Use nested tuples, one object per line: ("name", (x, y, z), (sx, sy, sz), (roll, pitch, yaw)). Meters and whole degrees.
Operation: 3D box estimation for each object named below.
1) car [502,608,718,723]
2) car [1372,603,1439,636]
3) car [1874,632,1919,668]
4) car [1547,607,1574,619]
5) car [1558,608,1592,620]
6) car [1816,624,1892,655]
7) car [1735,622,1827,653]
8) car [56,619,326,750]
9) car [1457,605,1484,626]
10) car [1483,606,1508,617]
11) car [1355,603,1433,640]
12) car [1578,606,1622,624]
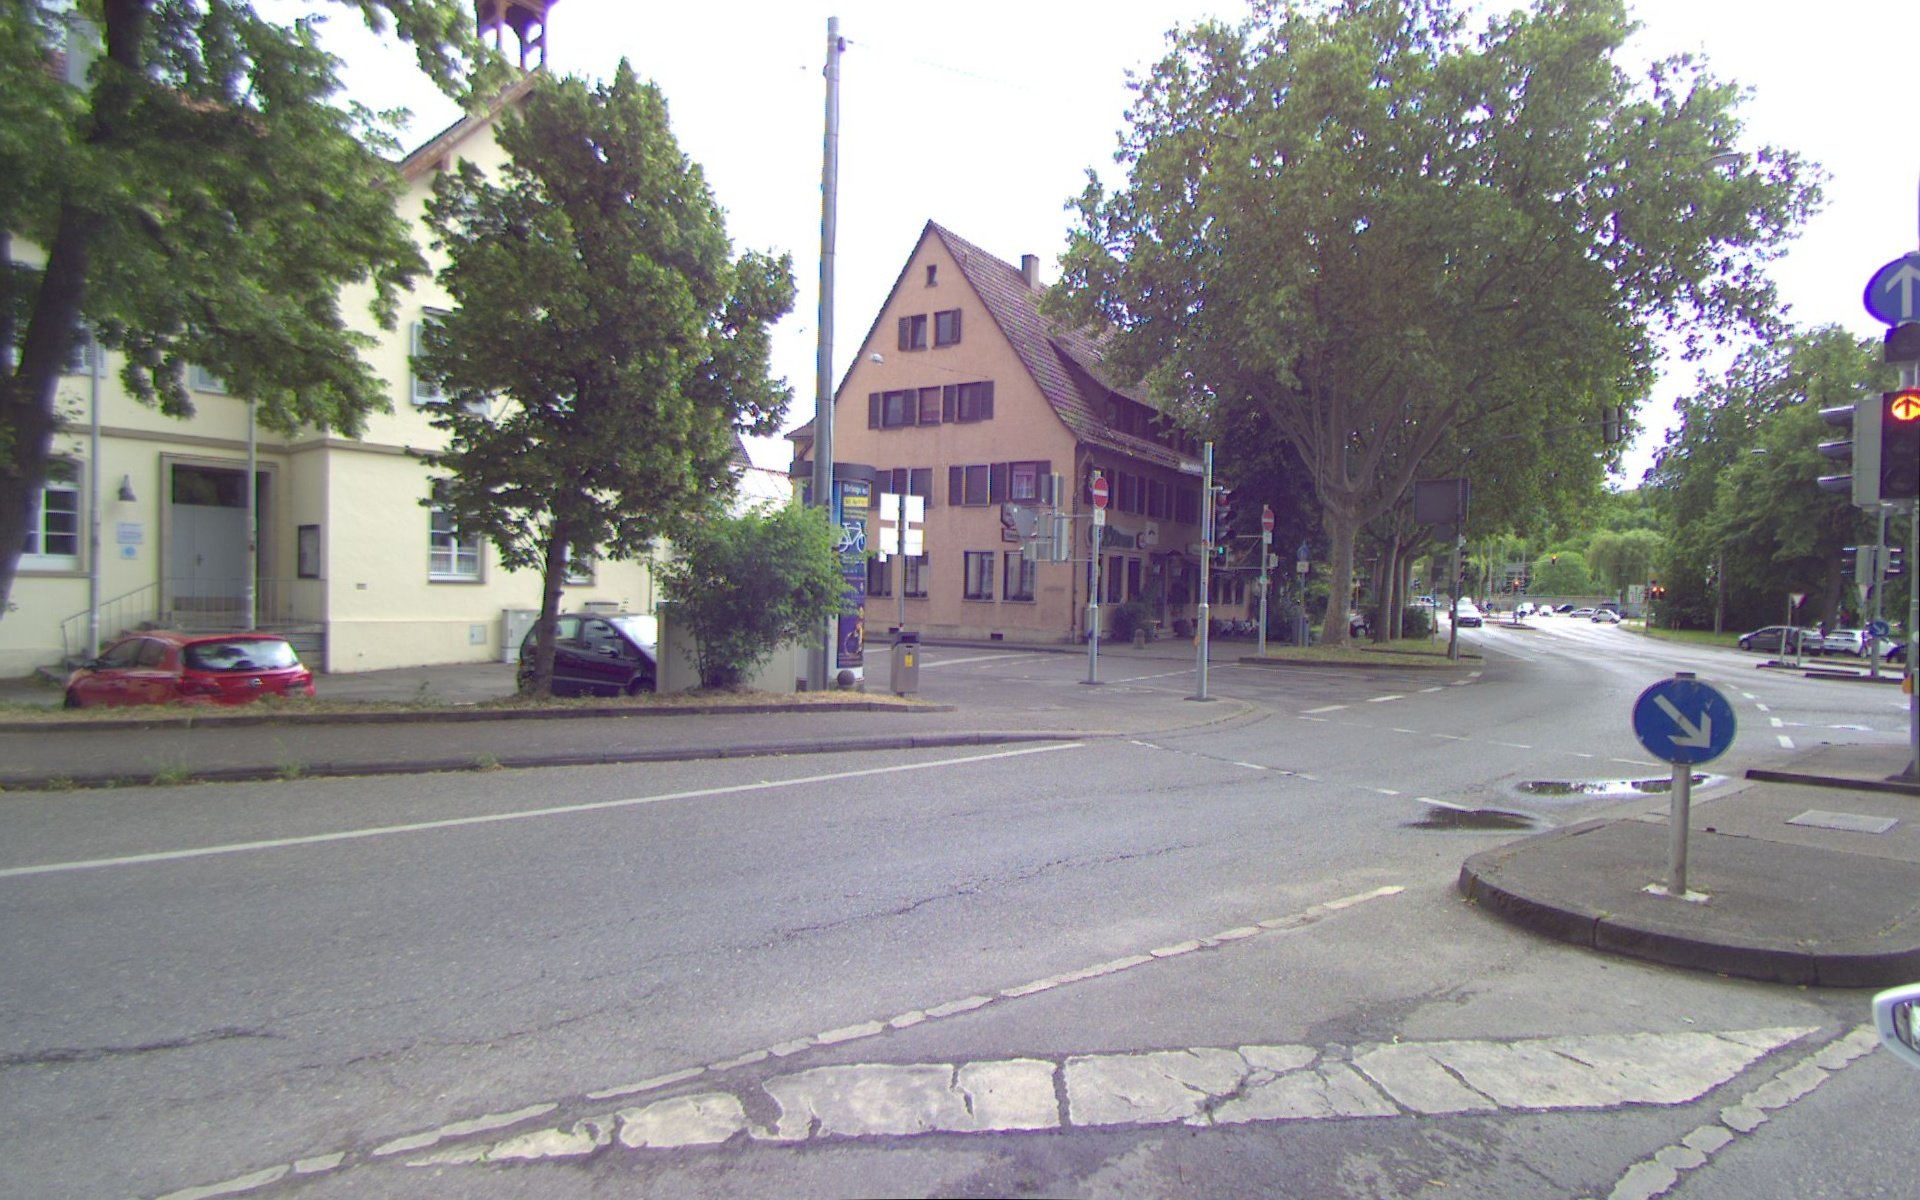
("car", (-5.760, 1.010, 16.597), (3.035, 1.654, 1.607), (2, 0, 22))
("car", (25.473, 1.087, 57.470), (3.387, 1.765, 1.570), (2, 0, 28))
("car", (39.573, 2.076, 40.948), (1.442, 1.412, 3.596), (2, 0, 3))
("car", (108.234, 2.309, 181.093), (3.928, 2.040, 1.996), (2, 0, 30))
("car", (87.579, 1.935, 143.021), (3.935, 1.572, 1.862), (2, 0, 37))
("car", (47.306, 2.079, 53.164), (3.342, 1.484, 1.543), (2, 0, -19))
("car", (43.867, 1.967, 53.763), (1.559, 1.484, 3.543), (2, 0, -17))
("car", (-10.171, 1.018, 13.249), (3.492, 1.397, 1.605), (2, 0, 30))
("car", (37.785, 1.160, 74.375), (1.404, 1.435, 2.872), (1, -1, 19))
("car", (100.720, 2.121, 188.939), (3.928, 2.040, 1.996), (2, 0, 30))
("car", (21.412, 1.049, 49.586), (3.387, 1.663, 1.570), (2, 0, 28))
("car", (74.609, 1.760, 117.104), (1.852, 2.040, 3.946), (2, 0, -45))
